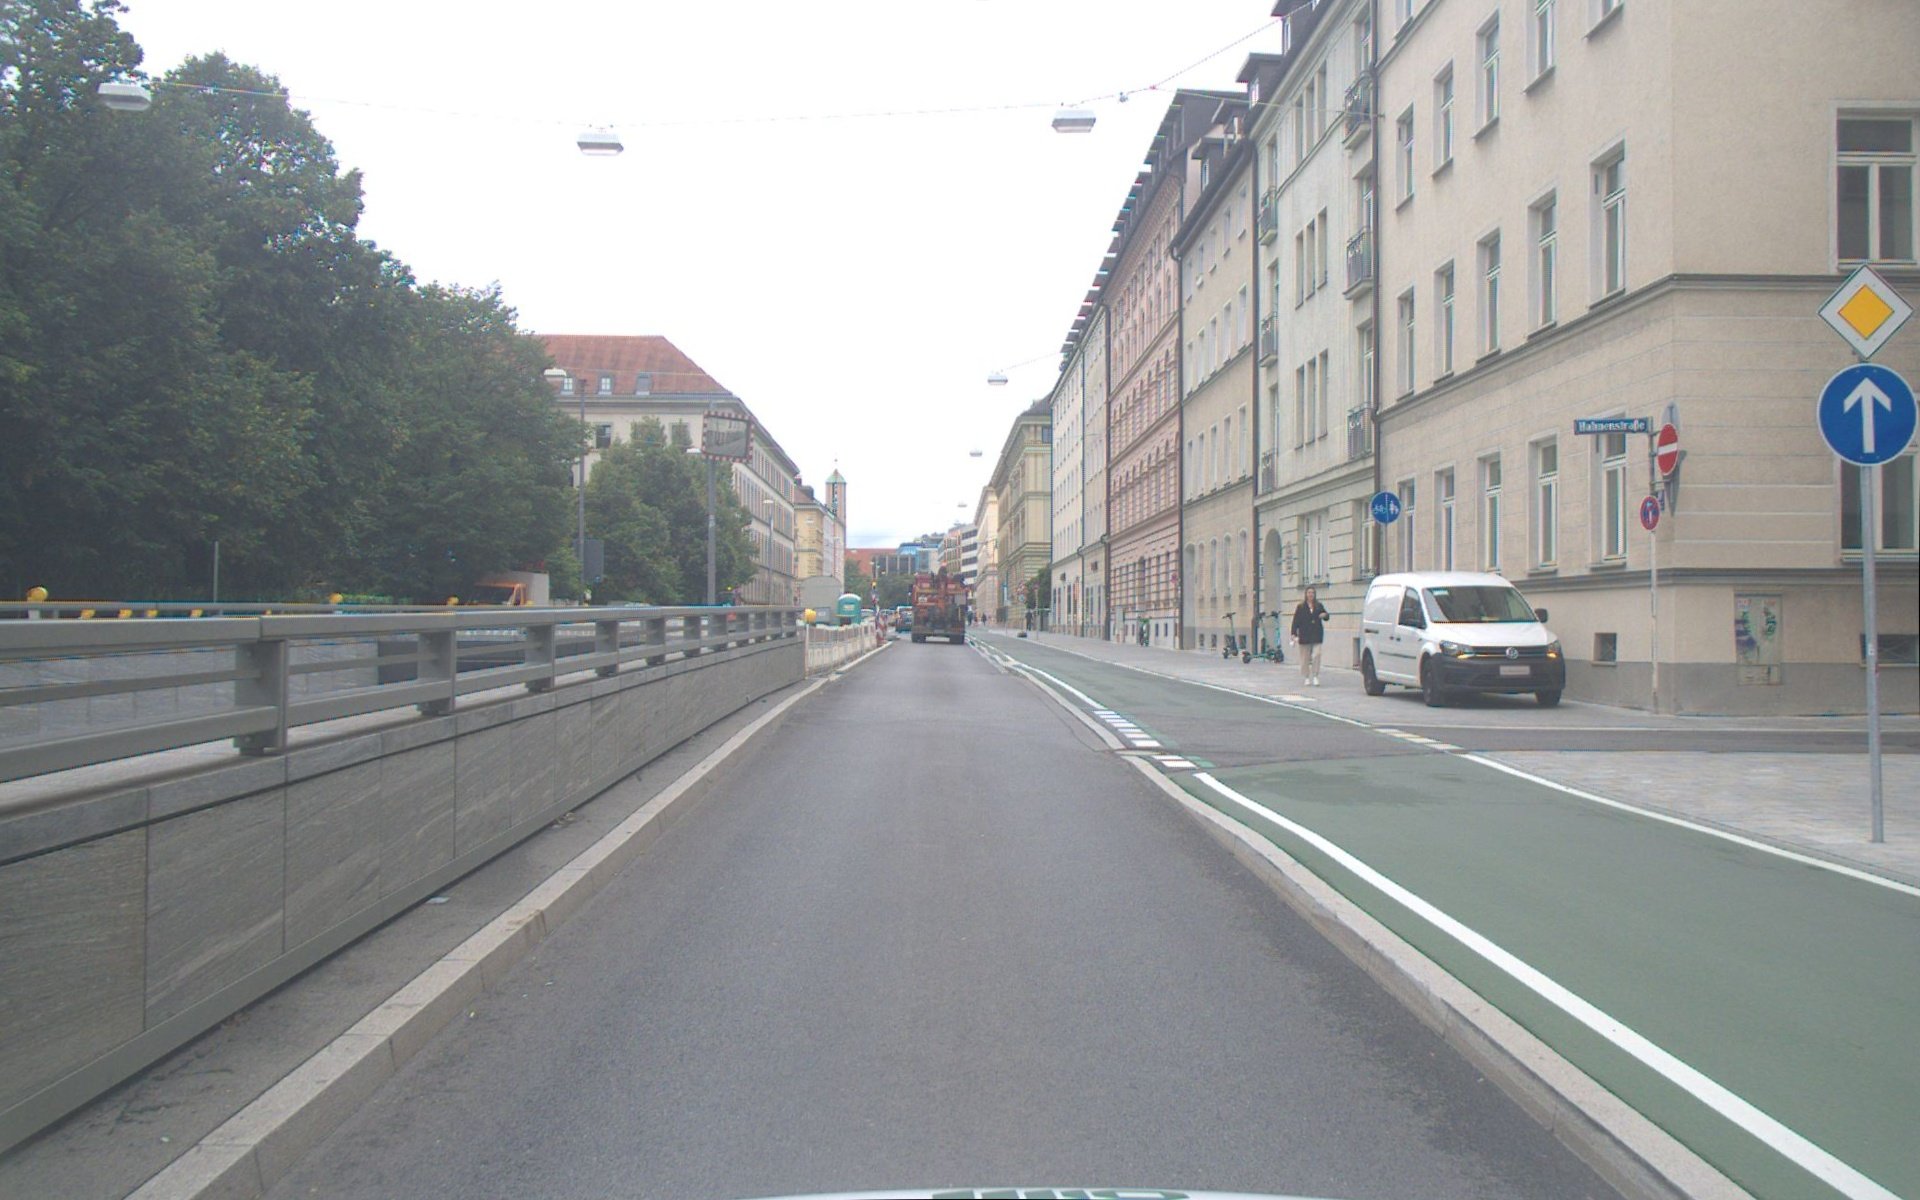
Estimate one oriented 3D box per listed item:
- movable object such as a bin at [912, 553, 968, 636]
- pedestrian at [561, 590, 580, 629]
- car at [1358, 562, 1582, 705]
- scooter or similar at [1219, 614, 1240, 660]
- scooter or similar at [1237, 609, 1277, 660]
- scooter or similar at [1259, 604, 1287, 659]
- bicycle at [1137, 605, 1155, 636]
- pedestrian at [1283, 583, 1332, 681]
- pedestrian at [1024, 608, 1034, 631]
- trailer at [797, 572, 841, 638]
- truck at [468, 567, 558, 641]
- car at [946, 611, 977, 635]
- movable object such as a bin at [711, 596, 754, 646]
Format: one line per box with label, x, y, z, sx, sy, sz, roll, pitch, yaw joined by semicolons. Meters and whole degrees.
movable object such as a bin;-0.969;-0.226;76.323;2.374;3.675;5.848;1;-1;-2
pedestrian;-16.531;0.385;70.203;0.649;1.631;0.698;1;-1;0
car;6.990;0.435;23.149;1.698;1.780;4.434;-1;0;-1
scooter or similar;7.489;1.016;45.934;0.241;1.252;1.119;-2;-1;24
scooter or similar;7.414;0.853;41.325;1.106;1.252;0.244;-1;-1;-35
scooter or similar;7.616;0.763;40.261;0.379;1.295;1.119;-2;-1;-2
bicycle;7.302;0.805;65.034;0.417;1.195;1.732;-1;-1;16
pedestrian;6.028;0.549;28.722;0.651;1.664;0.737;-1;0;-1
pedestrian;5.765;1.633;137.719;0.774;1.868;0.777;0;-1;0
trailer;-7.454;0.289;86.665;2.184;3.300;7.509;0;-1;-6
truck;-17.545;0.182;65.261;1.953;2.776;5.869;0;0;0
car;0.075;1.441;104.021;1.765;1.506;4.685;0;0;-2
movable object such as a bin;-12.334;1.115;89.854;1.886;2.617;4.489;1;0;-3
